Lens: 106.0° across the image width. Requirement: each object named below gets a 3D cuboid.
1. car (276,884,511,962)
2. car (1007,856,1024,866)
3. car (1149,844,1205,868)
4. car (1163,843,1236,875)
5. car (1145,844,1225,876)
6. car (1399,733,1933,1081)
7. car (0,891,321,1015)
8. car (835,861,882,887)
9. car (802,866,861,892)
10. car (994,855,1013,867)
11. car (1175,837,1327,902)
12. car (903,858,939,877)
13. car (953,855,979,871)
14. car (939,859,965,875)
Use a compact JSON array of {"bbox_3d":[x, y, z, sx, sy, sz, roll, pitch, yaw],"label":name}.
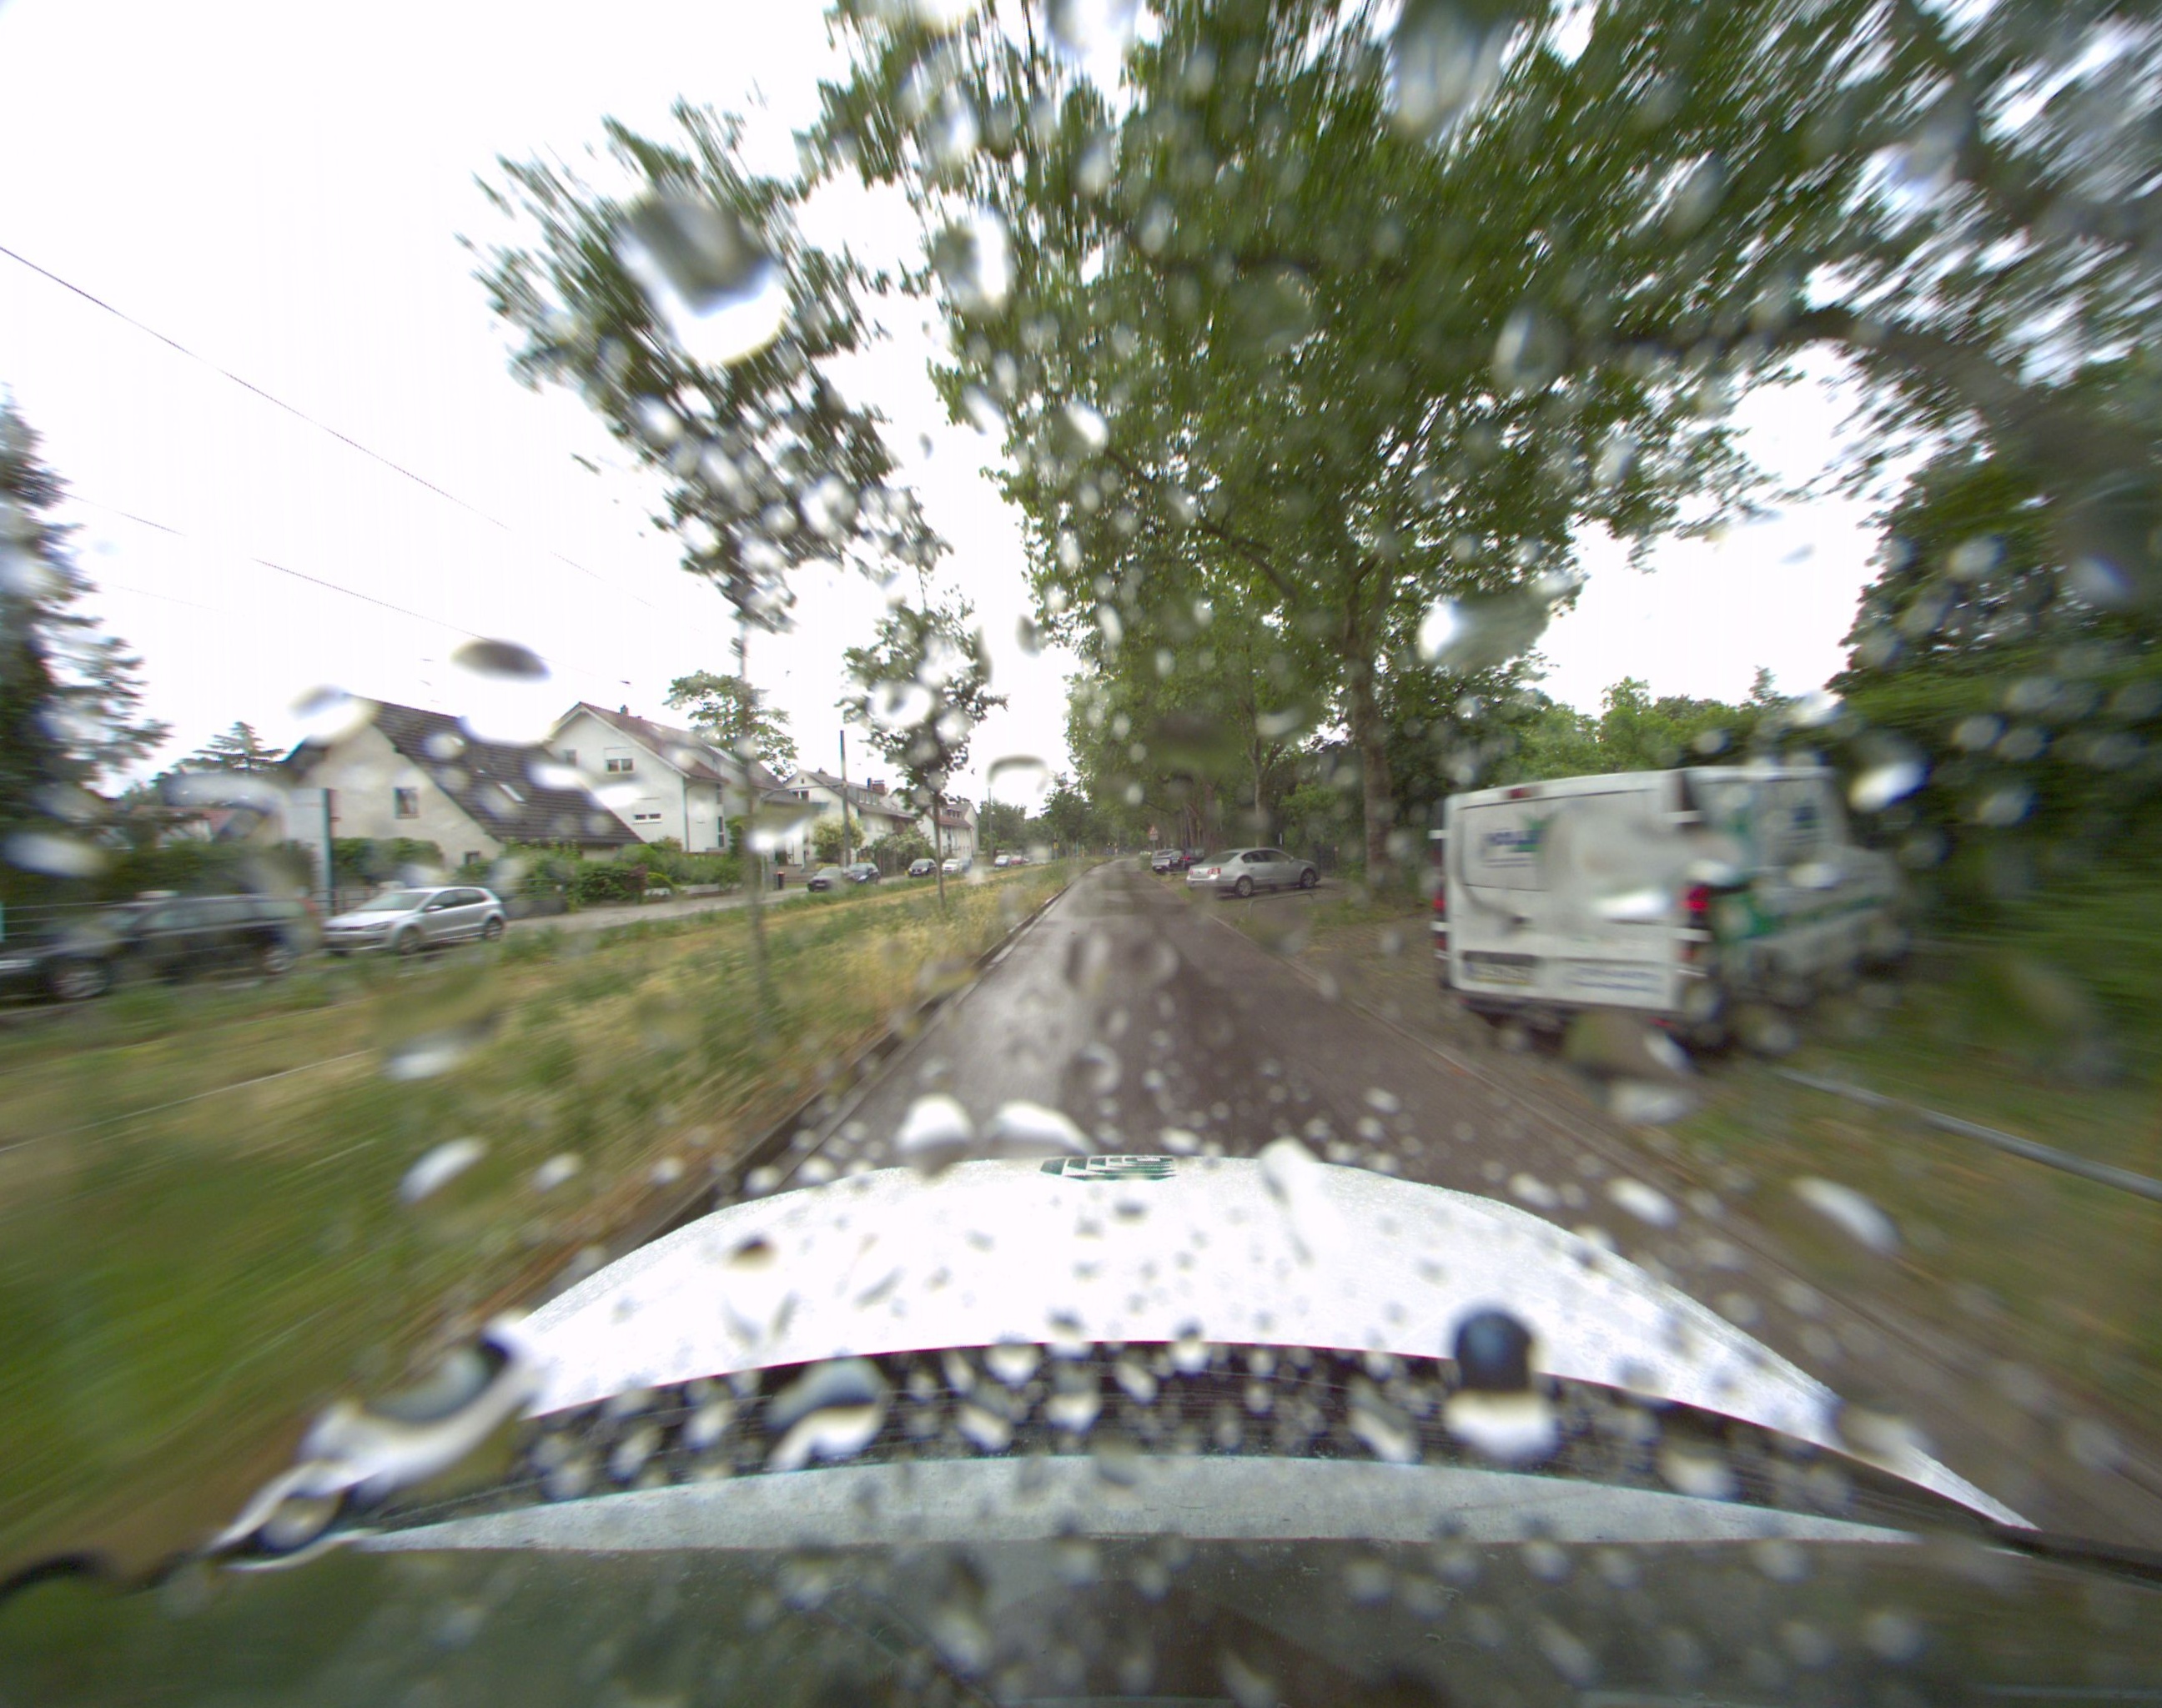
[{"bbox_3d":[-15.637,1.505,18.866,1.986,1.411,3.973,-1,1,1],"label":"car"},{"bbox_3d":[-10.069,1.033,125.980,1.985,1.488,4.209,-1,1,3],"label":"car"},{"bbox_3d":[7.322,0.166,62.087,3.858,1.566,1.612,-4,0,-12],"label":"car"},{"bbox_3d":[6.585,0.269,45.177,3.727,1.566,1.603,-3,0,-31],"label":"car"},{"bbox_3d":[6.550,0.361,51.014,4.796,1.668,1.973,-3,0,-35],"label":"car"},{"bbox_3d":[5.171,0.166,6.929,5.050,2.013,1.979,-4,1,-34],"label":"car"},{"bbox_3d":[-15.663,1.467,13.343,1.985,1.455,4.535,-1,1,3],"label":"car"},{"bbox_3d":[-14.305,1.242,52.606,1.867,1.550,3.872,-1,1,2],"label":"car"},{"bbox_3d":[-14.587,1.419,47.853,1.985,1.350,4.244,-1,1,3],"label":"car"},{"bbox_3d":[-10.653,0.902,112.316,1.985,1.581,4.521,-1,1,3],"label":"car"},{"bbox_3d":[5.402,0.450,25.711,4.576,1.544,1.869,-6,2,-31],"label":"car"},{"bbox_3d":[-13.672,1.147,69.738,1.985,1.516,4.209,-1,1,3],"label":"car"},{"bbox_3d":[-12.485,0.941,88.622,1.985,1.614,4.417,-1,1,3],"label":"car"},{"bbox_3d":[-12.934,1.273,81.652,1.788,1.488,3.600,-1,1,3],"label":"car"}]
